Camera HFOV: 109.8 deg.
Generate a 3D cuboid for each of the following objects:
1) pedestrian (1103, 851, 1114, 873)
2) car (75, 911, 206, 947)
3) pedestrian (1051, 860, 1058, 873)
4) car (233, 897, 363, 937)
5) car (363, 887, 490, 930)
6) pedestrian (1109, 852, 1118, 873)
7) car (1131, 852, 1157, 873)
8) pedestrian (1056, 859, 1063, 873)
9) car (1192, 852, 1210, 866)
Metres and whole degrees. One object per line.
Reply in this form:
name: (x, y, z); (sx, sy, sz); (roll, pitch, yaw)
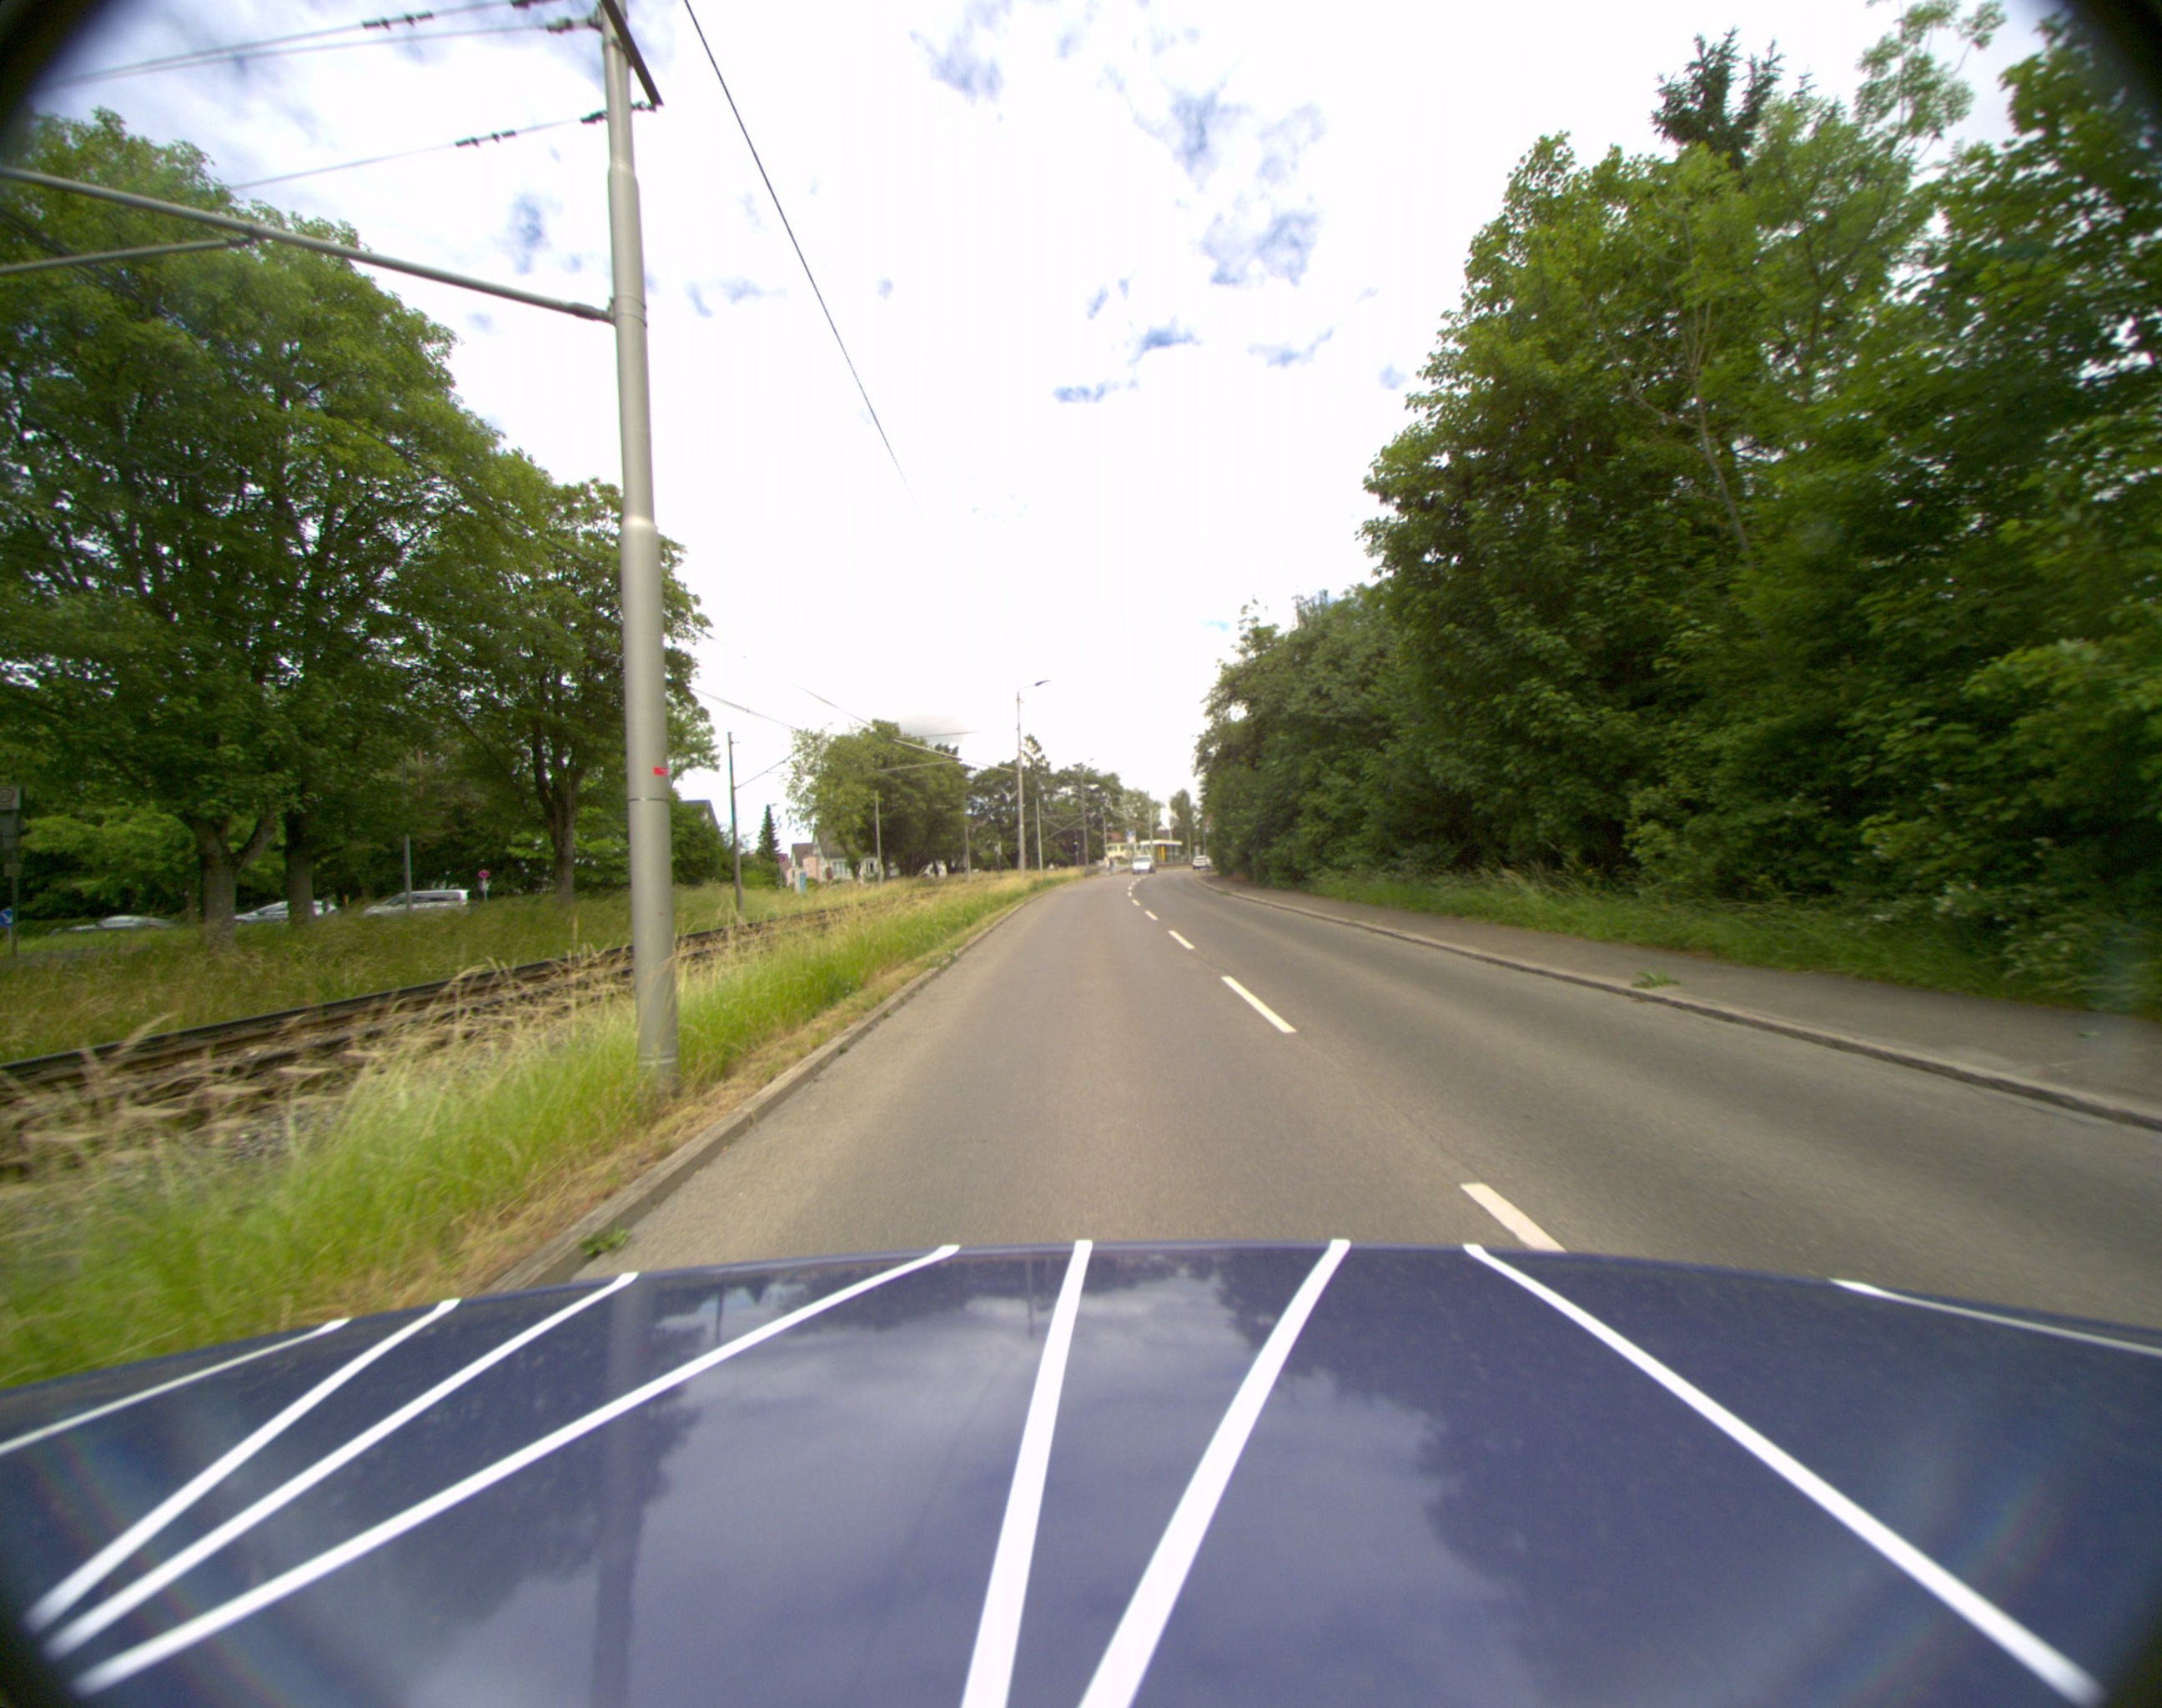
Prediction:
pedestrian: (2.348, 0.698, 64.357); (0.660, 1.830, 0.596); (-4, 2, -10)
car: (-45.037, 3.574, 36.497); (3.529, 1.326, 1.671); (-3, 0, -23)
pedestrian: (-3.060, 1.456, 88.100); (0.493, 1.552, 0.693); (-4, 0, 16)
car: (-39.953, 3.189, 38.922); (4.201, 1.668, 1.768); (-3, 0, -23)
car: (-34.971, 2.876, 40.794); (4.718, 1.850, 1.914); (-3, 0, -23)
pedestrian: (2.769, 0.734, 65.545); (0.475, 1.719, 0.799); (-4, 2, -11)
car: (5.545, 0.748, 66.507); (1.732, 1.638, 4.230); (-4, -1, 12)
pedestrian: (-2.489, 1.380, 87.905); (0.493, 1.612, 0.791); (-4, 0, 16)
car: (13.478, 0.501, 85.072); (1.933, 1.513, 4.662); (-1, 0, 10)
